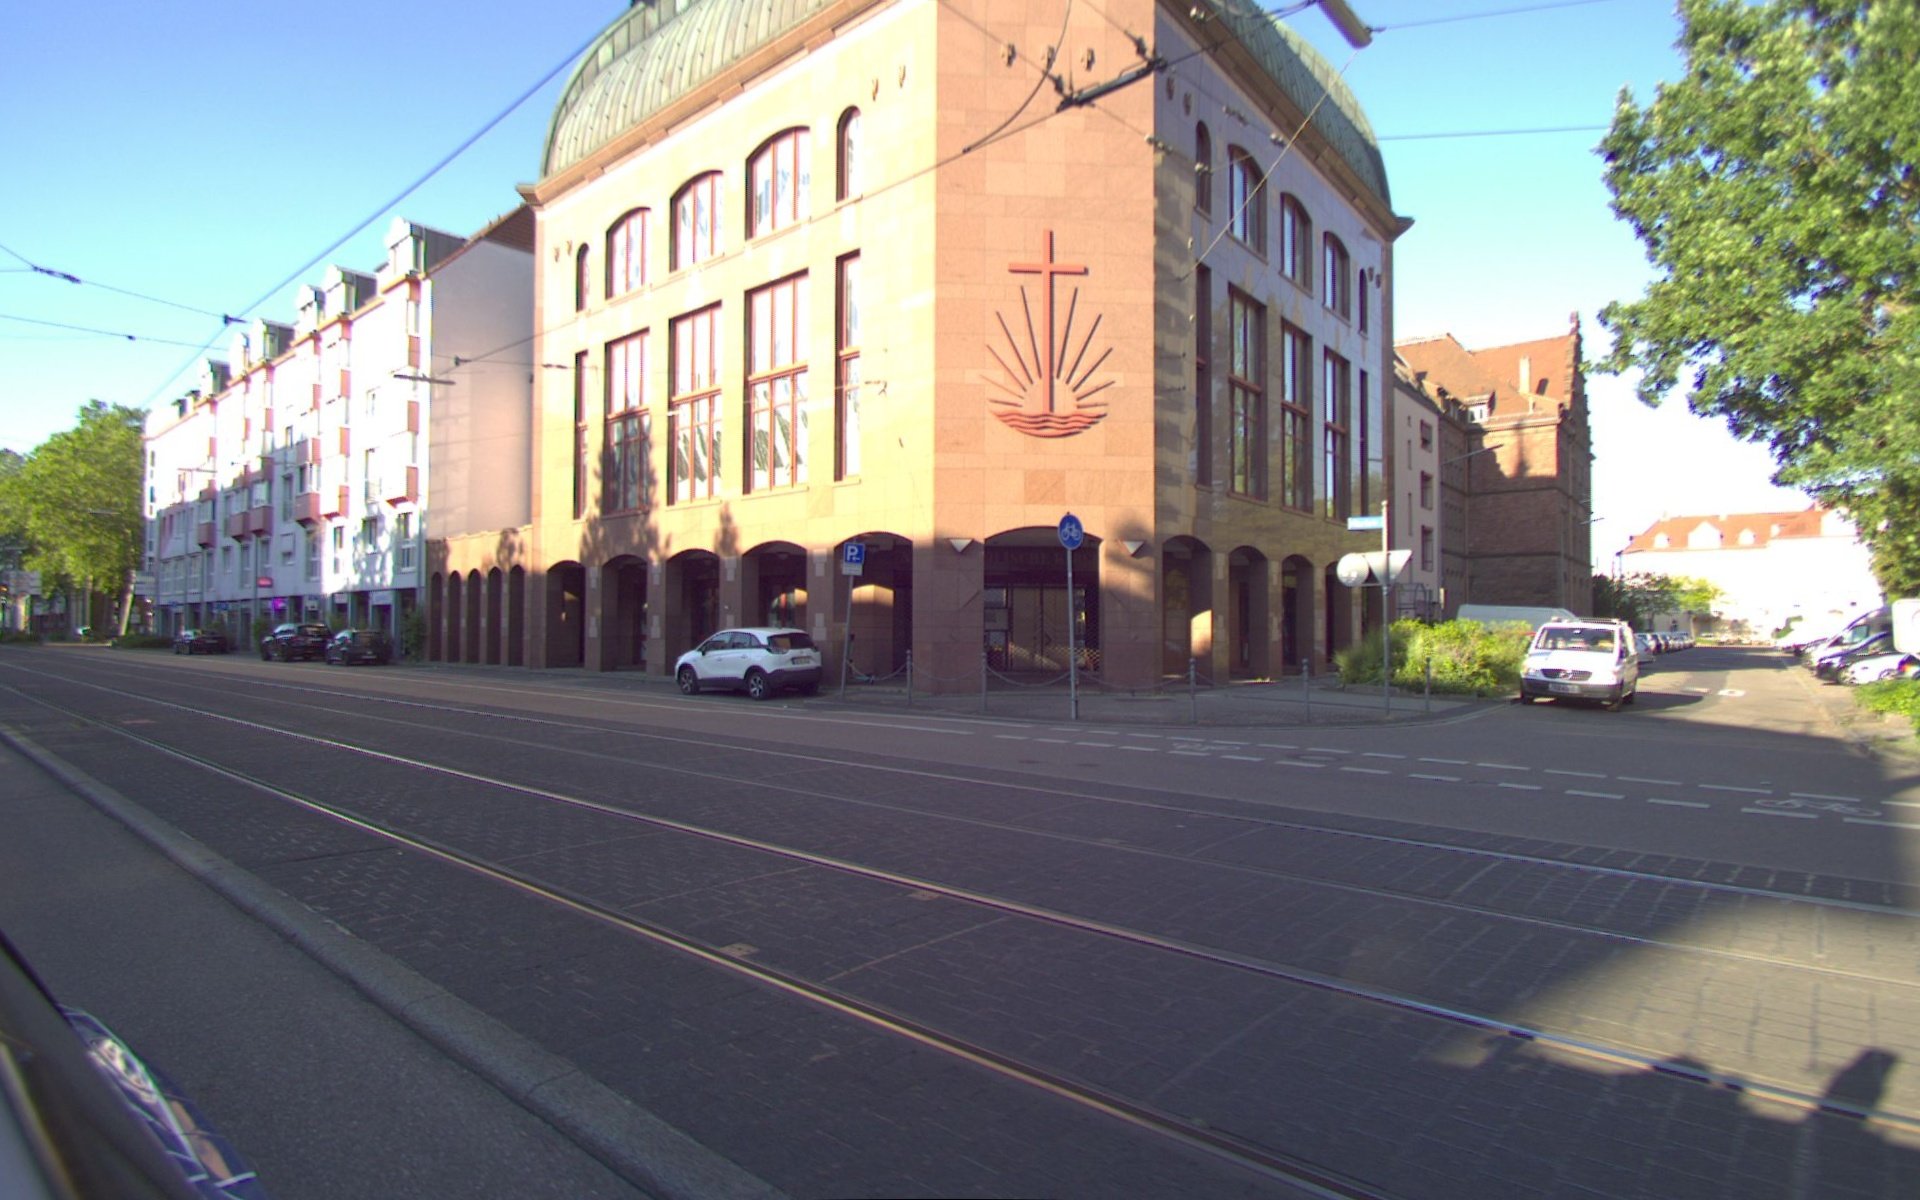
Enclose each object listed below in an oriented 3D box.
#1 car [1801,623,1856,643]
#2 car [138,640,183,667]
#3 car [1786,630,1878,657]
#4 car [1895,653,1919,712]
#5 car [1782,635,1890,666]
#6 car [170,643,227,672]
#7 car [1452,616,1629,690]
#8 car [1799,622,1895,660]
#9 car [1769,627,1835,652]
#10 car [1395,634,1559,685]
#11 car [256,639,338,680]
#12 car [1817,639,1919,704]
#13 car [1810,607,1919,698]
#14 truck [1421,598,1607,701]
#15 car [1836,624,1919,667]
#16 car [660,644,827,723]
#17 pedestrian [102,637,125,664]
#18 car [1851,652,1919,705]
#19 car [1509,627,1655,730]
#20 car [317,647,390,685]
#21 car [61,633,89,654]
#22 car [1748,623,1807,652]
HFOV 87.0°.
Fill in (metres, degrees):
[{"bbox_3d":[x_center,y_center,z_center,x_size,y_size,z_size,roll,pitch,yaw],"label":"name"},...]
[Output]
[{"bbox_3d":[91.971,3.468,107.183,4.317,2.029,1.974,-1,-3,39],"label":"car"},{"bbox_3d":[-55.335,3.658,70.013,4.385,1.811,1.904,-2,-3,45],"label":"car"},{"bbox_3d":[87.303,4.339,101.494,6.735,2.638,2.542,-1,-3,37],"label":"car"},{"bbox_3d":[28.117,2.260,27.311,4.098,1.590,2.010,-1,-3,40],"label":"car"},{"bbox_3d":[76.961,4.399,89.081,6.959,2.638,2.542,-1,-3,37],"label":"car"},{"bbox_3d":[-44.356,3.312,58.931,4.559,1.520,1.805,-2,-2,42],"label":"car"},{"bbox_3d":[21.325,1.921,37.333,5.409,2.562,1.832,-2,-3,39],"label":"car"},{"bbox_3d":[66.402,3.036,75.877,5.291,2.638,2.115,0,-2,39],"label":"car"},{"bbox_3d":[101.320,4.769,121.928,6.044,2.865,2.541,0,-2,39],"label":"car"},{"bbox_3d":[16.856,1.891,33.114,4.524,1.585,1.833,-1,-3,38],"label":"car"},{"bbox_3d":[-30.280,2.691,46.177,4.557,1.713,1.939,-2,-1,40],"label":"car"},{"bbox_3d":[31.765,2.348,33.375,5.269,2.061,2.024,-1,-3,40],"label":"car"},{"bbox_3d":[36.623,2.031,39.197,5.630,3.437,2.114,0,-2,41],"label":"car"},{"bbox_3d":[16.191,1.419,29.700,4.524,2.784,1.833,-1,-3,38],"label":"truck"},{"bbox_3d":[59.866,2.935,65.031,5.291,2.638,2.115,0,-2,39],"label":"car"},{"bbox_3d":[-5.186,1.902,23.928,4.274,1.602,1.579,-1,-1,40],"label":"car"},{"bbox_3d":[-57.012,3.378,68.153,1.080,1.792,1.254,3,-4,-44],"label":"pedestrian"},{"bbox_3d":[30.680,2.469,31.420,4.460,1.590,2.024,-1,-3,40],"label":"car"},{"bbox_3d":[14.239,1.674,23.017,2.131,1.982,4.929,2,0,40],"label":"car"},{"bbox_3d":[-25.134,2.688,41.882,3.683,1.411,1.624,-2,-2,43],"label":"car"},{"bbox_3d":[-73.006,3.605,83.501,2.881,1.686,1.365,-2,-3,42],"label":"car"},{"bbox_3d":[101.267,4.667,125.402,5.625,3.381,2.403,0,-2,39],"label":"car"}]
